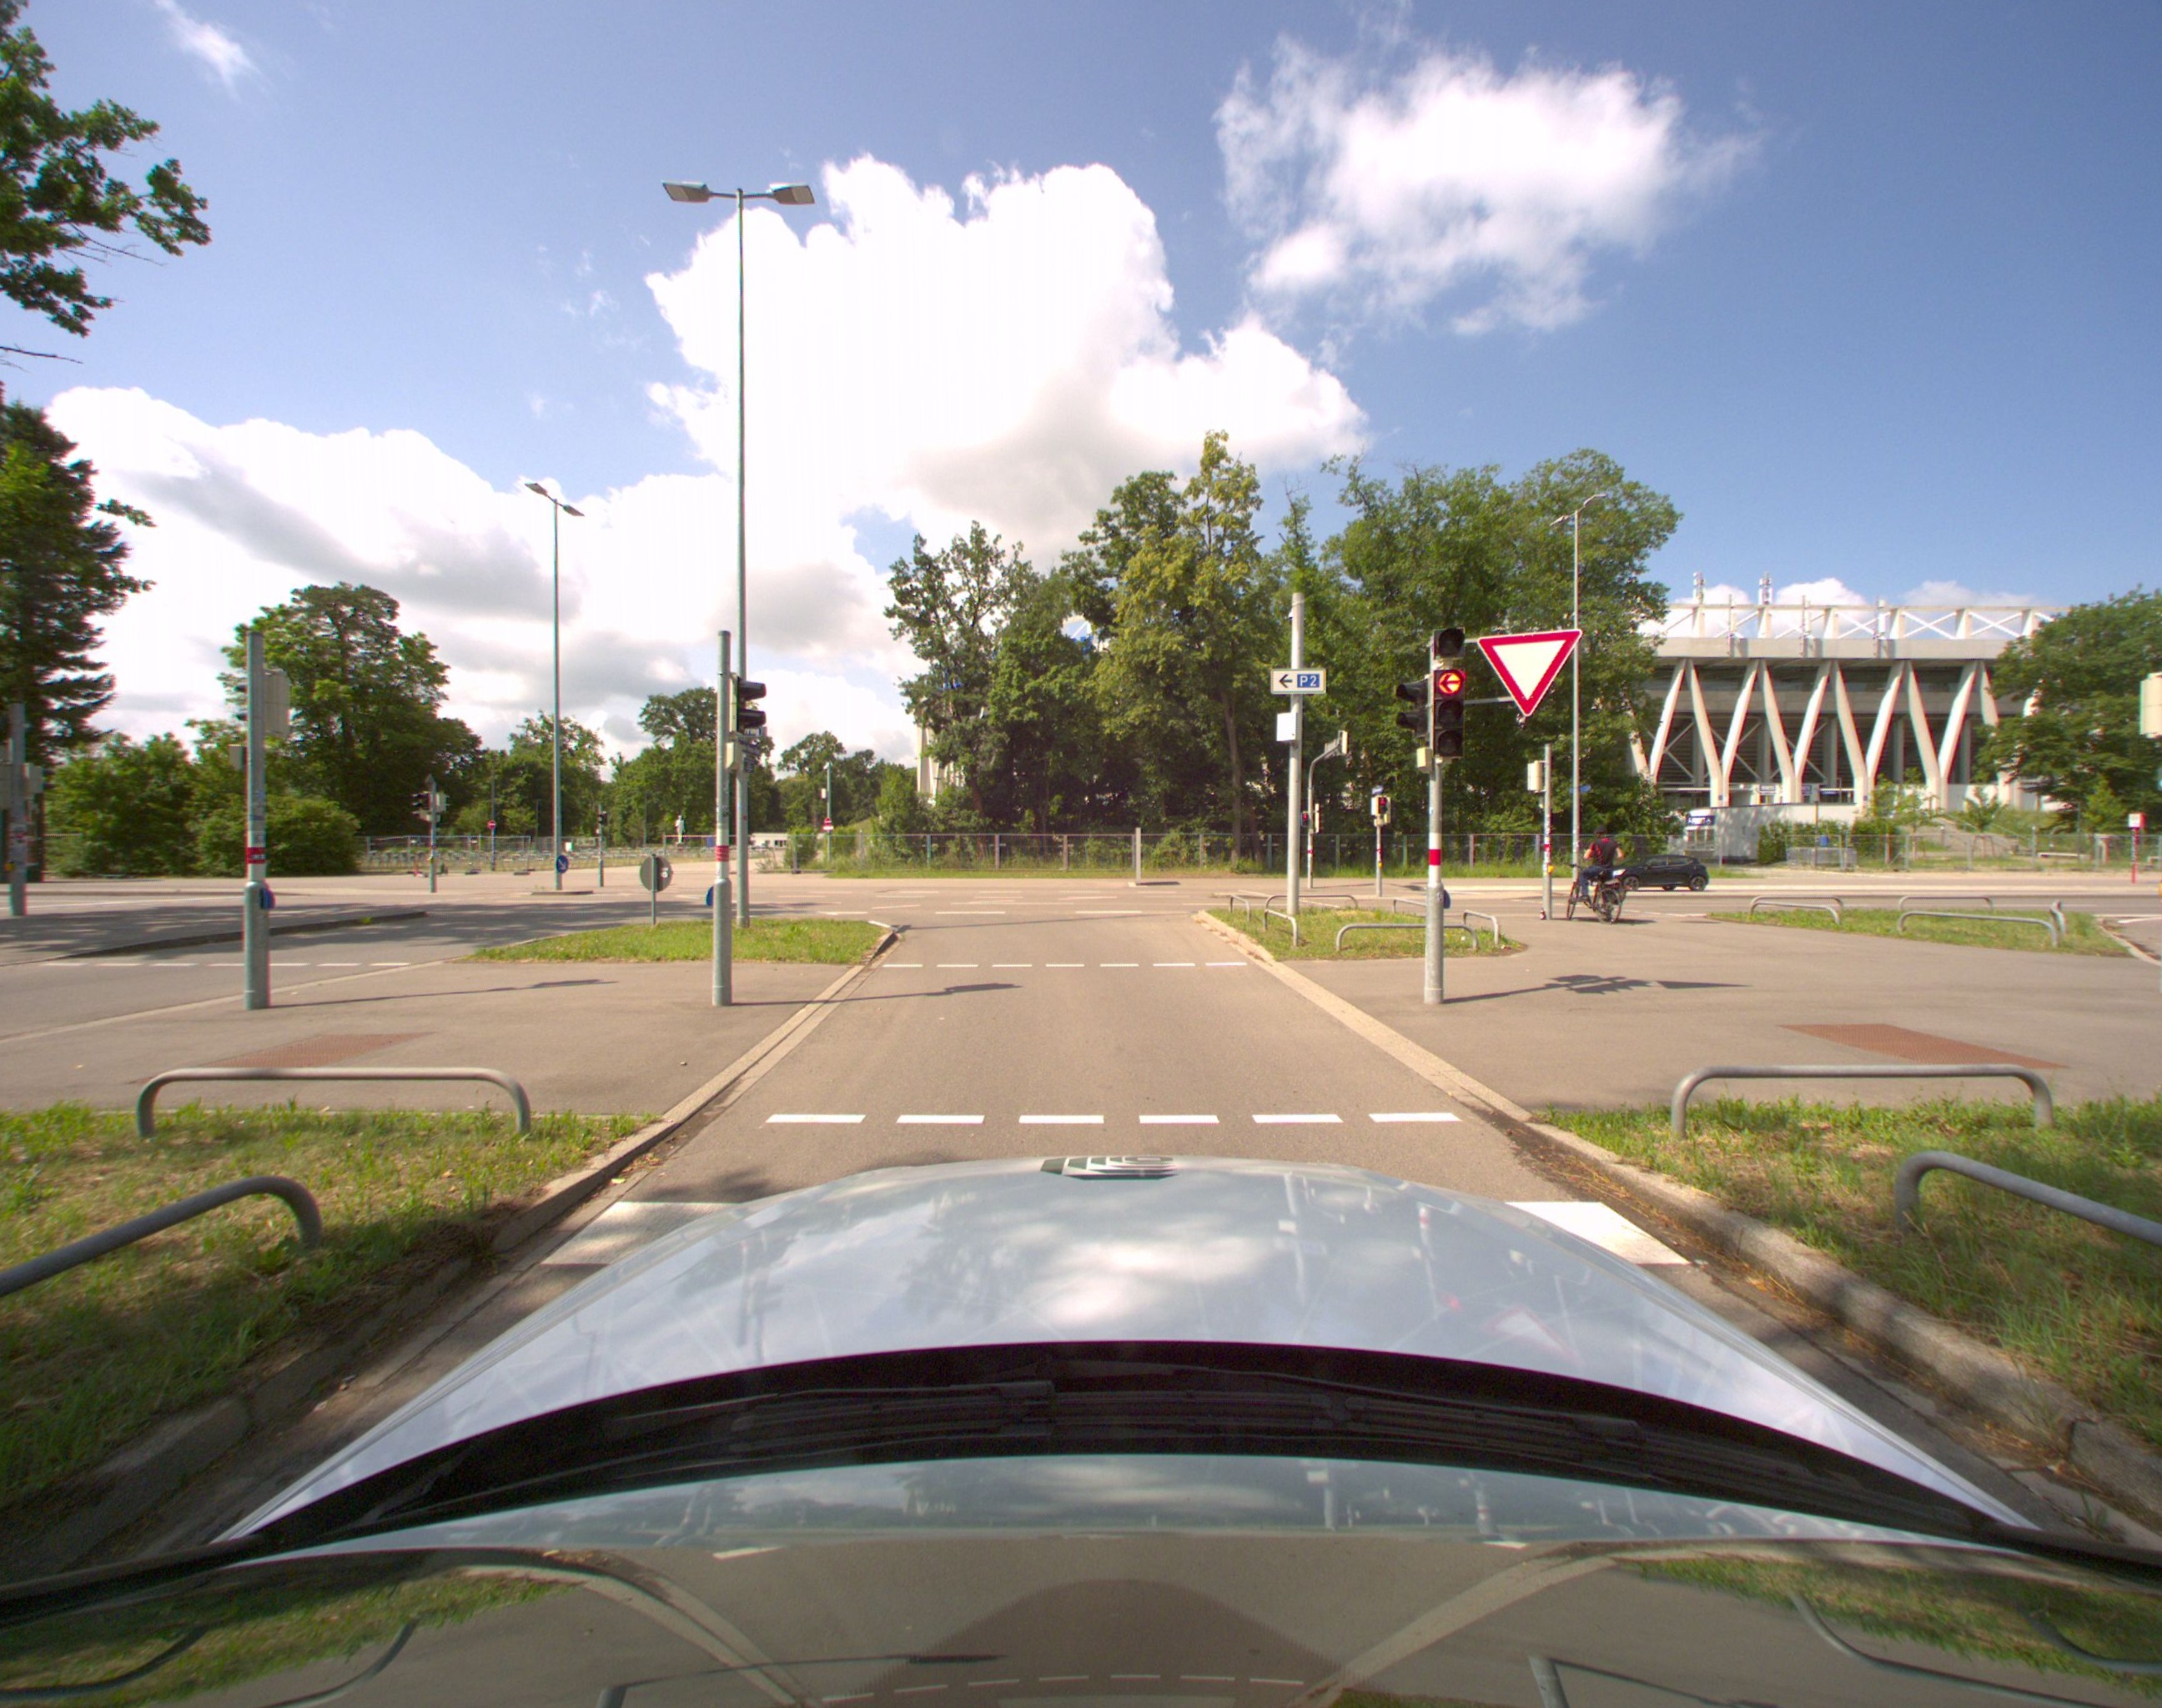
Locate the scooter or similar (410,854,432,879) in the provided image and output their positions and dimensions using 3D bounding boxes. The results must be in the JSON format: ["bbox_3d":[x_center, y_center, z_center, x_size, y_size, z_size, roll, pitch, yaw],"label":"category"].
[{"bbox_3d":[-32.233,0.604,39.796,1.295,1.200,0.410,0,1,31],"label":"scooter or similar"}]

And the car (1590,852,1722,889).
[{"bbox_3d":[22.107,0.634,31.391,3.948,1.378,1.603,0,-1,1],"label":"car"}]

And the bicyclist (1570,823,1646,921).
[{"bbox_3d":[9.925,0.332,15.387,0.879,1.798,0.981,-1,-1,10],"label":"bicyclist"}]

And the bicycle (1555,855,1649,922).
[{"bbox_3d":[9.960,0.639,15.668,0.875,1.206,1.903,-1,-1,11],"label":"bicycle"}]
